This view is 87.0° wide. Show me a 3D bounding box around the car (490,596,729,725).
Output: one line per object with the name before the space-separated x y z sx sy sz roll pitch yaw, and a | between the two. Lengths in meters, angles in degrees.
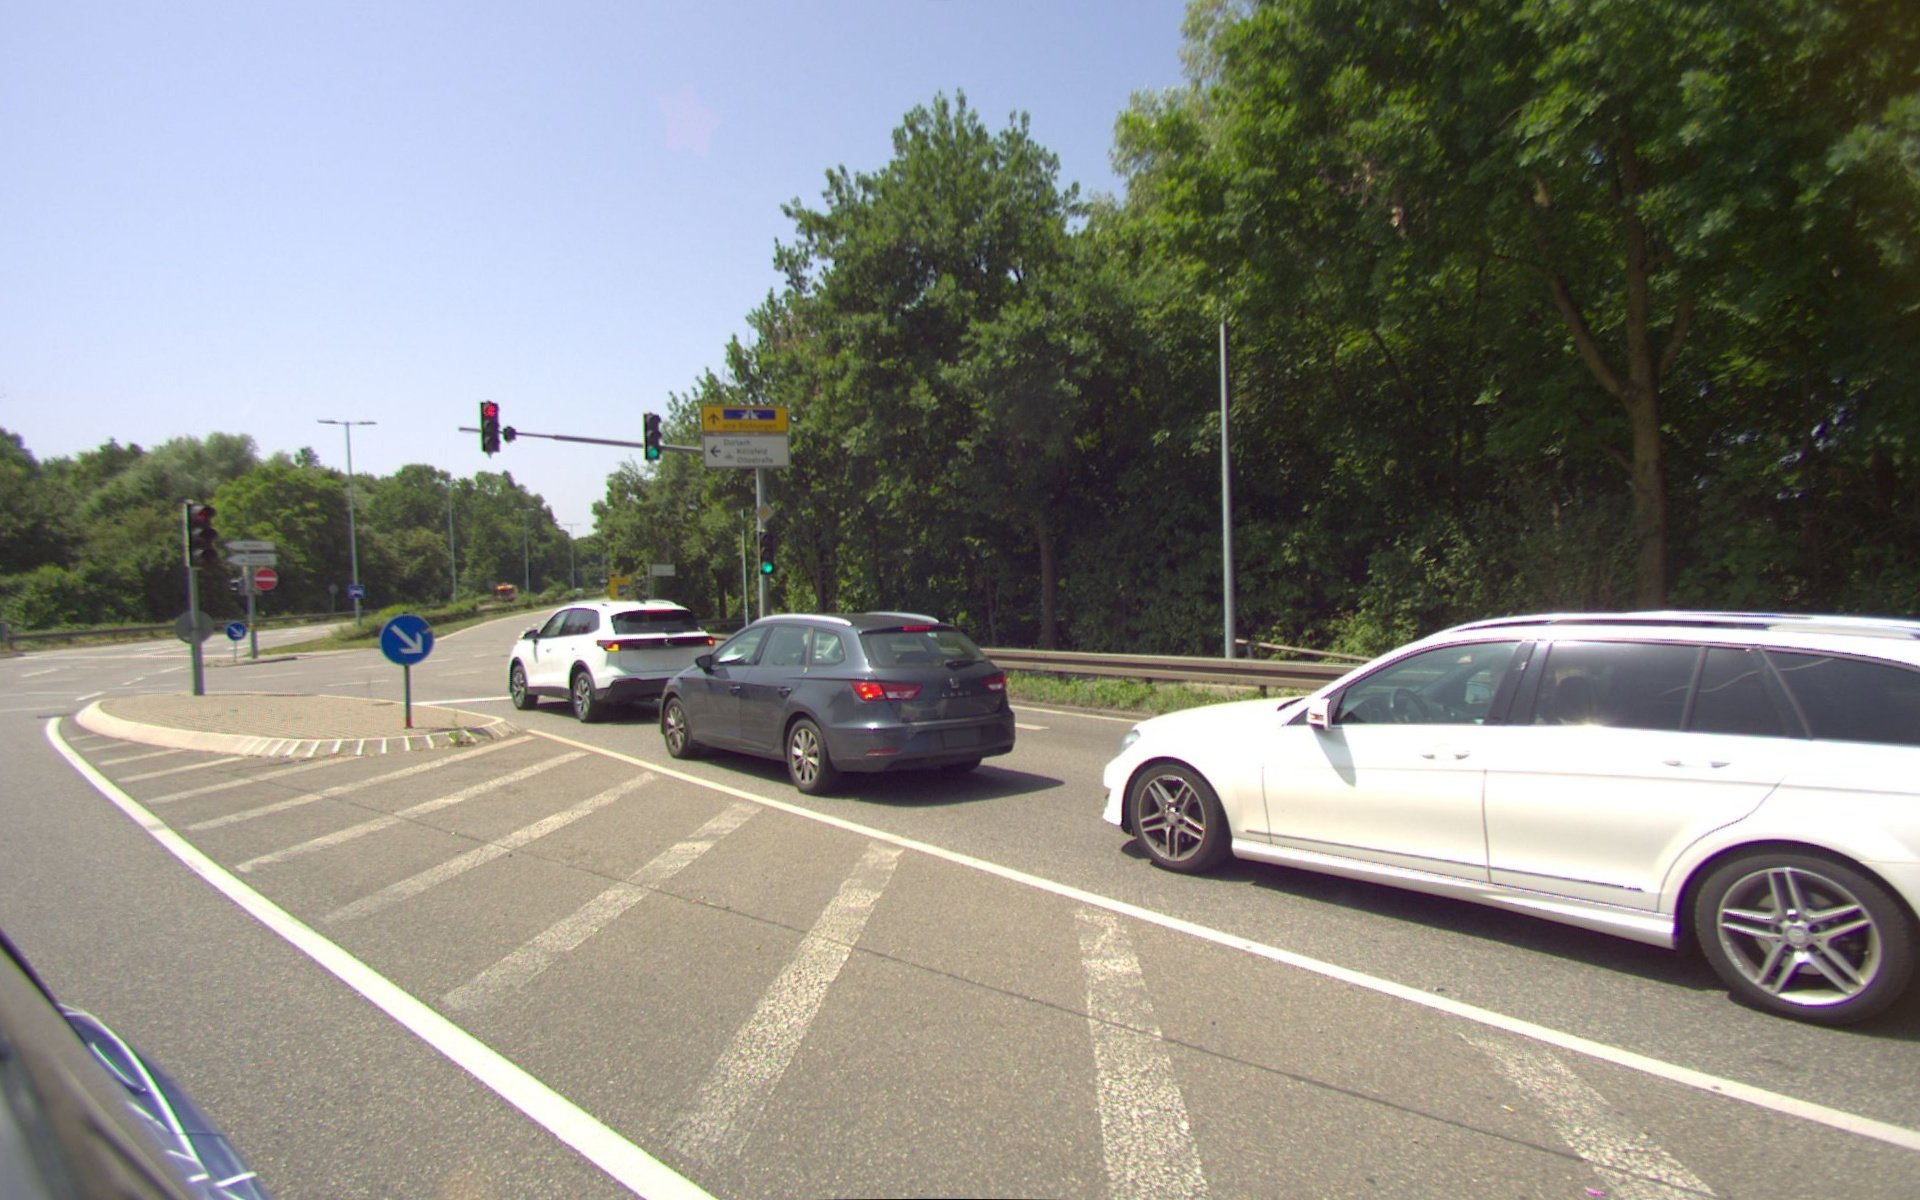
car | -5.420 0.804 15.268 1.805 1.651 4.585 0 -1 -41

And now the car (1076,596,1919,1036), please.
car | 2.955 0.728 4.870 1.805 1.417 4.896 1 -2 -40

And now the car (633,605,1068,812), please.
car | -1.273 0.792 9.405 1.805 1.417 4.554 -1 0 -40

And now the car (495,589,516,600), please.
car | -63.922 -0.733 142.360 1.817 1.441 3.586 -2 1 -12
